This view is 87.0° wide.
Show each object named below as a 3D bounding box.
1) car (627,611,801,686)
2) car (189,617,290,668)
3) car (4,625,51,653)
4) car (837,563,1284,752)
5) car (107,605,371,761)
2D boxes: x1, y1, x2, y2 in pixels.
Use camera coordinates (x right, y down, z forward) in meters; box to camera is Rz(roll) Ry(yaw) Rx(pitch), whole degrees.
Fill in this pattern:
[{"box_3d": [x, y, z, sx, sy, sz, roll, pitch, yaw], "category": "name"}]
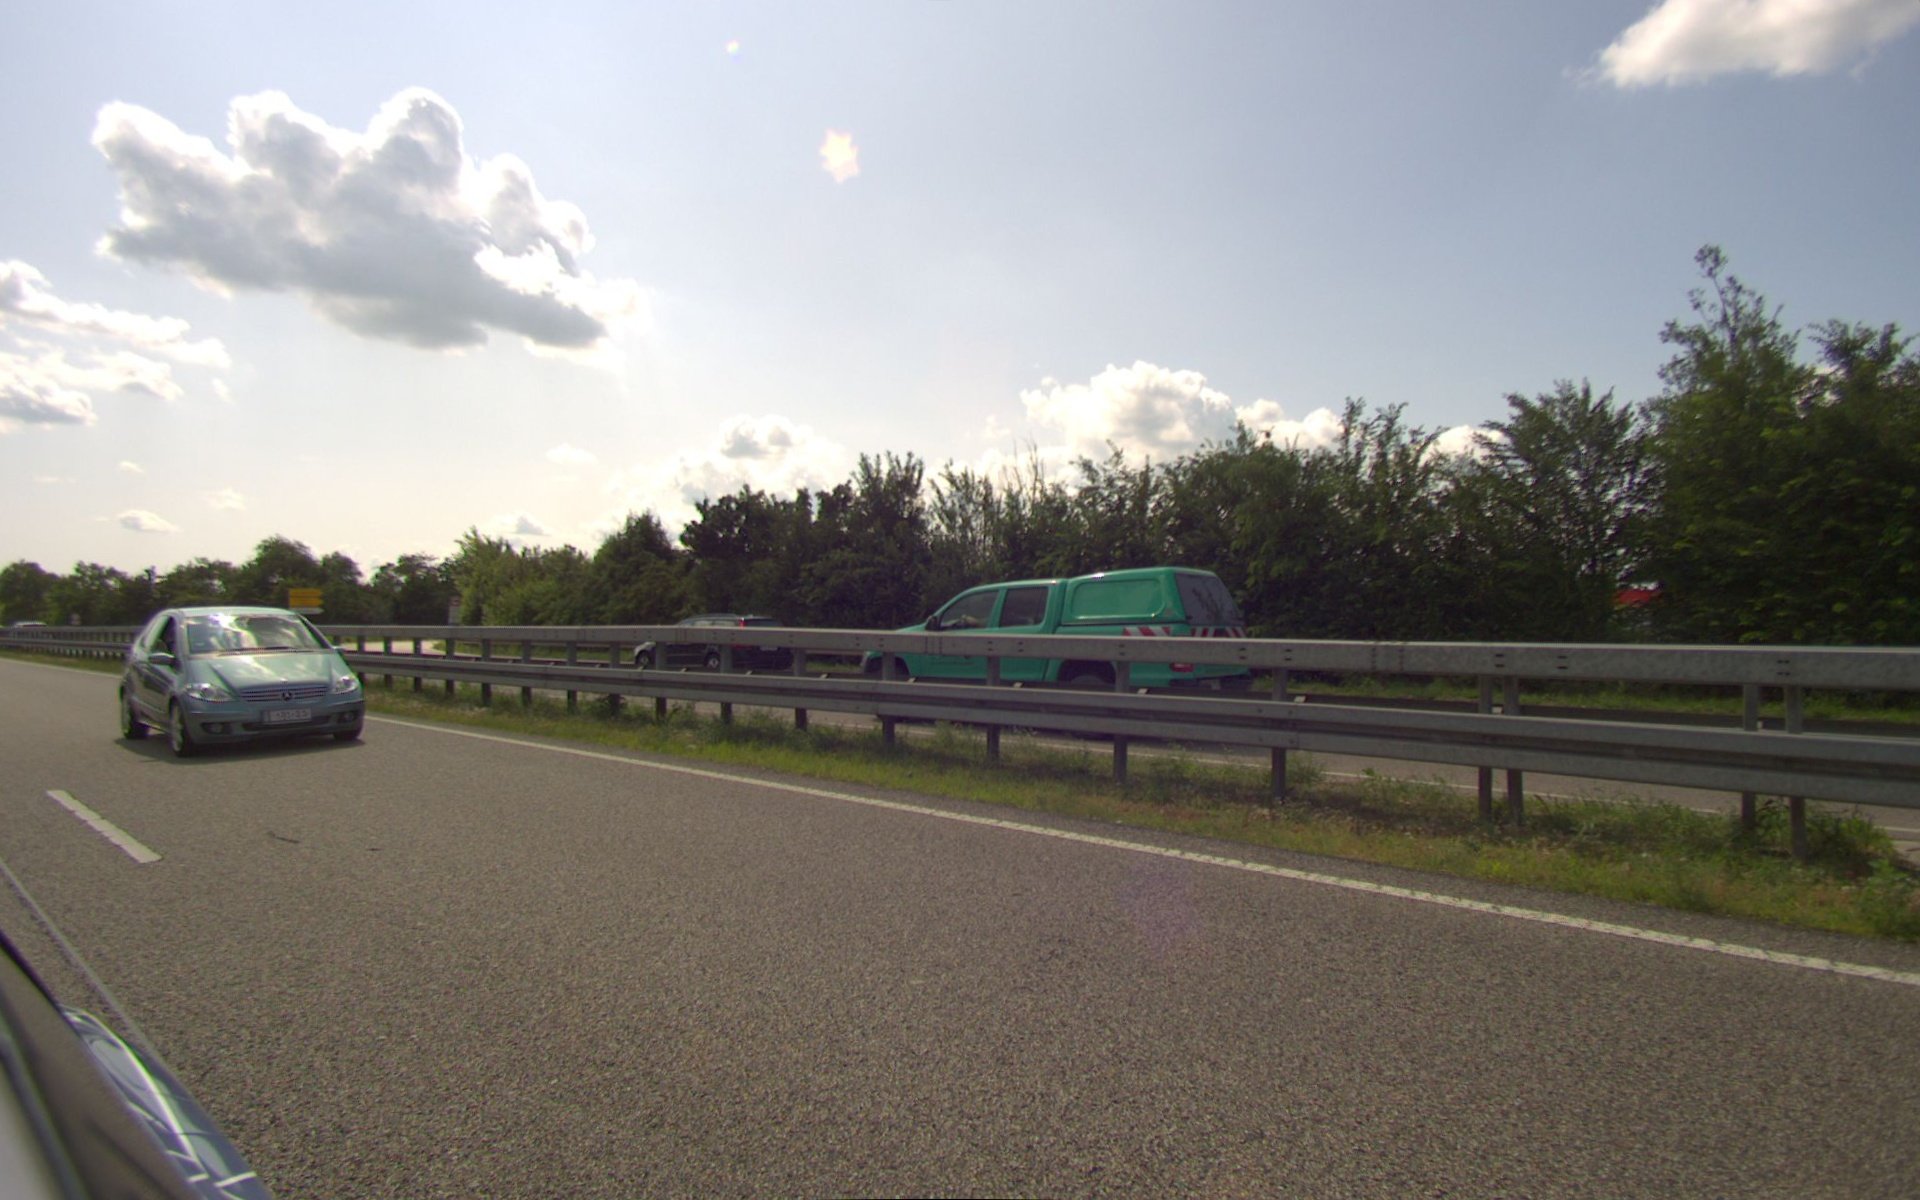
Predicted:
[{"box_3d": [-5.935, 1.075, 24.104, 4.554, 1.587, 1.684, -1, 1, 41], "category": "car"}, {"box_3d": [-25.326, 1.433, 35.517, 4.130, 1.609, 1.973, -1, 1, 41], "category": "car"}, {"box_3d": [-60.238, 2.496, 65.346, 4.266, 1.658, 1.671, -1, 1, 40], "category": "car"}, {"box_3d": [1.030, 0.580, 12.619, 5.390, 1.877, 1.973, -1, 1, 41], "category": "car"}, {"box_3d": [-8.686, 0.859, 12.067, 3.998, 1.543, 1.729, -1, -1, 42], "category": "car"}]
